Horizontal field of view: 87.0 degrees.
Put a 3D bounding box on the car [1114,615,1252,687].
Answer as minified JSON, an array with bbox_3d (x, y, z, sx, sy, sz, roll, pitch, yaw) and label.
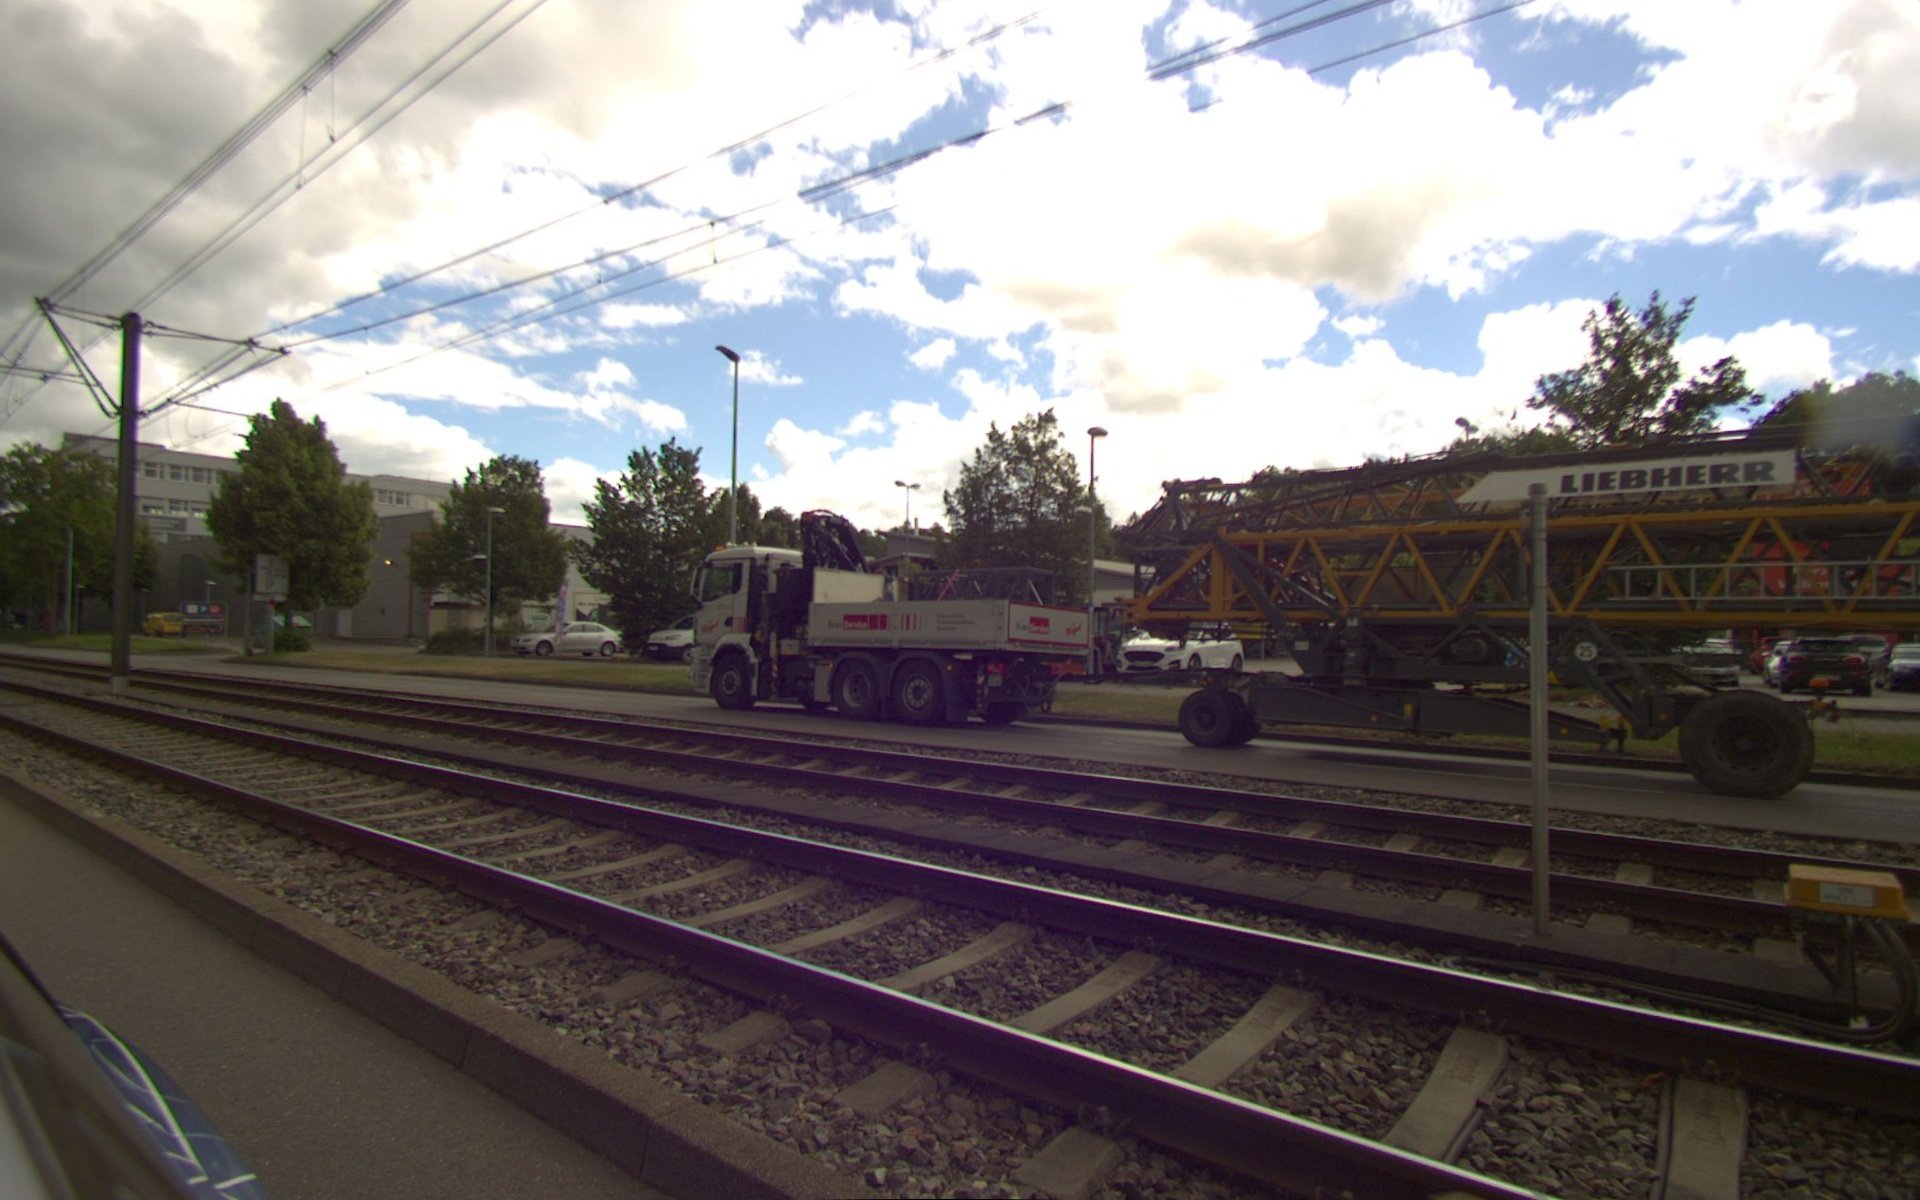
[{"bbox_3d":[5.658,1.203,25.306,1.791,1.518,4.431,-1,0,35],"label":"car"}]

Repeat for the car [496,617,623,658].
[{"bbox_3d":[-16.729,1.545,42.431,1.999,1.504,4.552,-1,0,41],"label":"car"}]

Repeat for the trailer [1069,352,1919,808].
[{"bbox_3d":[7.972,-0.087,10.605,14.408,3.927,2.645,-1,-4,39],"label":"trailer"}]

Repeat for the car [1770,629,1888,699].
[{"bbox_3d":[22.085,1.564,25.870,1.948,1.501,3.695,-1,0,36],"label":"car"}]

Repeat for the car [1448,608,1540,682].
[{"bbox_3d":[16.258,1.312,30.725,1.948,2.029,3.695,-1,0,36],"label":"car"}]

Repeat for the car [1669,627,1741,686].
[{"bbox_3d":[23.403,1.716,31.851,1.720,1.635,3.695,-1,0,36],"label":"car"}]

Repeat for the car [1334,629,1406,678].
[{"bbox_3d":[15.752,1.994,38.784,1.720,1.635,3.695,-1,0,36],"label":"car"}]

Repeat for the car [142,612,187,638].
[{"bbox_3d":[-64.897,2.024,82.558,3.994,2.029,1.974,-1,-3,38],"label":"car"}]

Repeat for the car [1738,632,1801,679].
[{"bbox_3d":[31.843,2.138,39.881,1.720,1.635,3.695,-1,0,36],"label":"car"}]

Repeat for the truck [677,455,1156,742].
[{"bbox_3d":[-1.096,0.104,17.837,8.617,3.997,2.865,-1,-3,38],"label":"truck"}]

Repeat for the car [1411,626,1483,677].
[{"bbox_3d":[17.738,1.820,36.761,1.720,1.635,3.695,-1,0,36],"label":"car"}]

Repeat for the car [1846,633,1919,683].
[{"bbox_3d":[34.530,2.124,37.703,1.917,1.635,3.695,-1,0,36],"label":"car"}]

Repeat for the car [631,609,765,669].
[{"bbox_3d":[-9.364,1.333,36.424,1.999,1.933,4.300,-1,0,41],"label":"car"}]
